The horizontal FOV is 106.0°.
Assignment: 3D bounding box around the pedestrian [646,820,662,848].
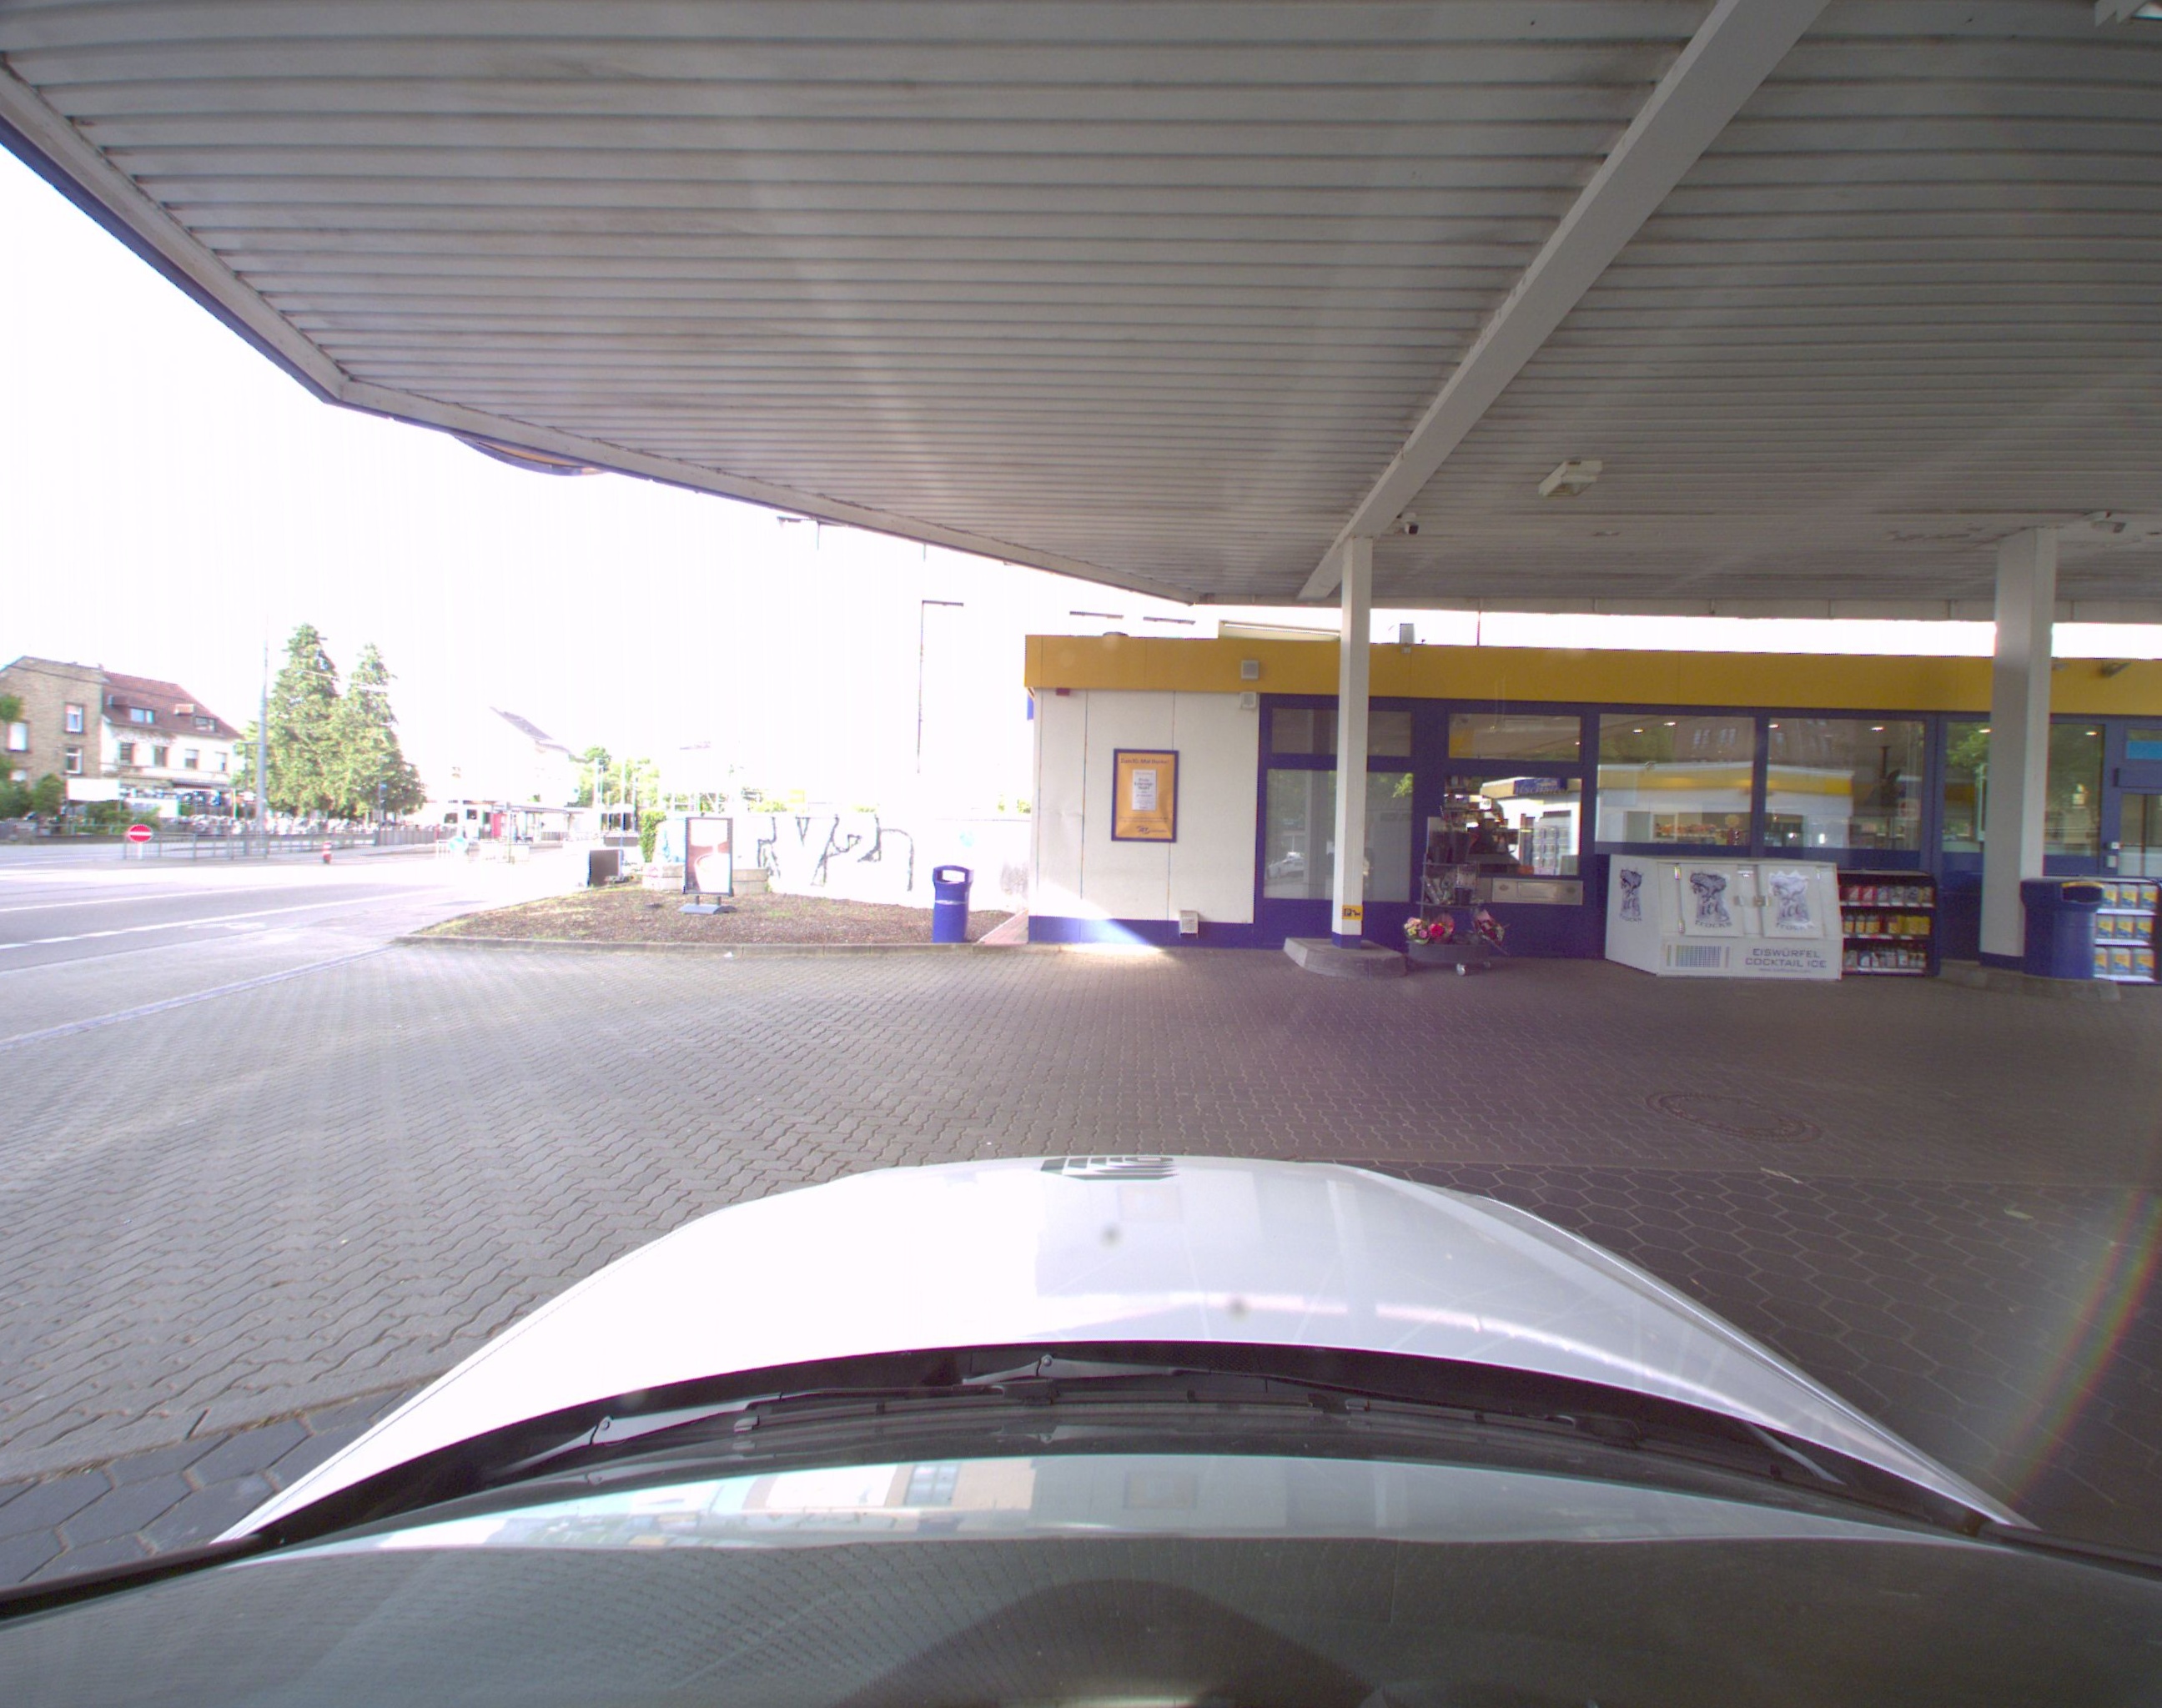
[{"bbox_3d":[-31.262,-1.483,59.625,0.807,2.014,0.846,0,-1,-14],"label":"pedestrian"}]
